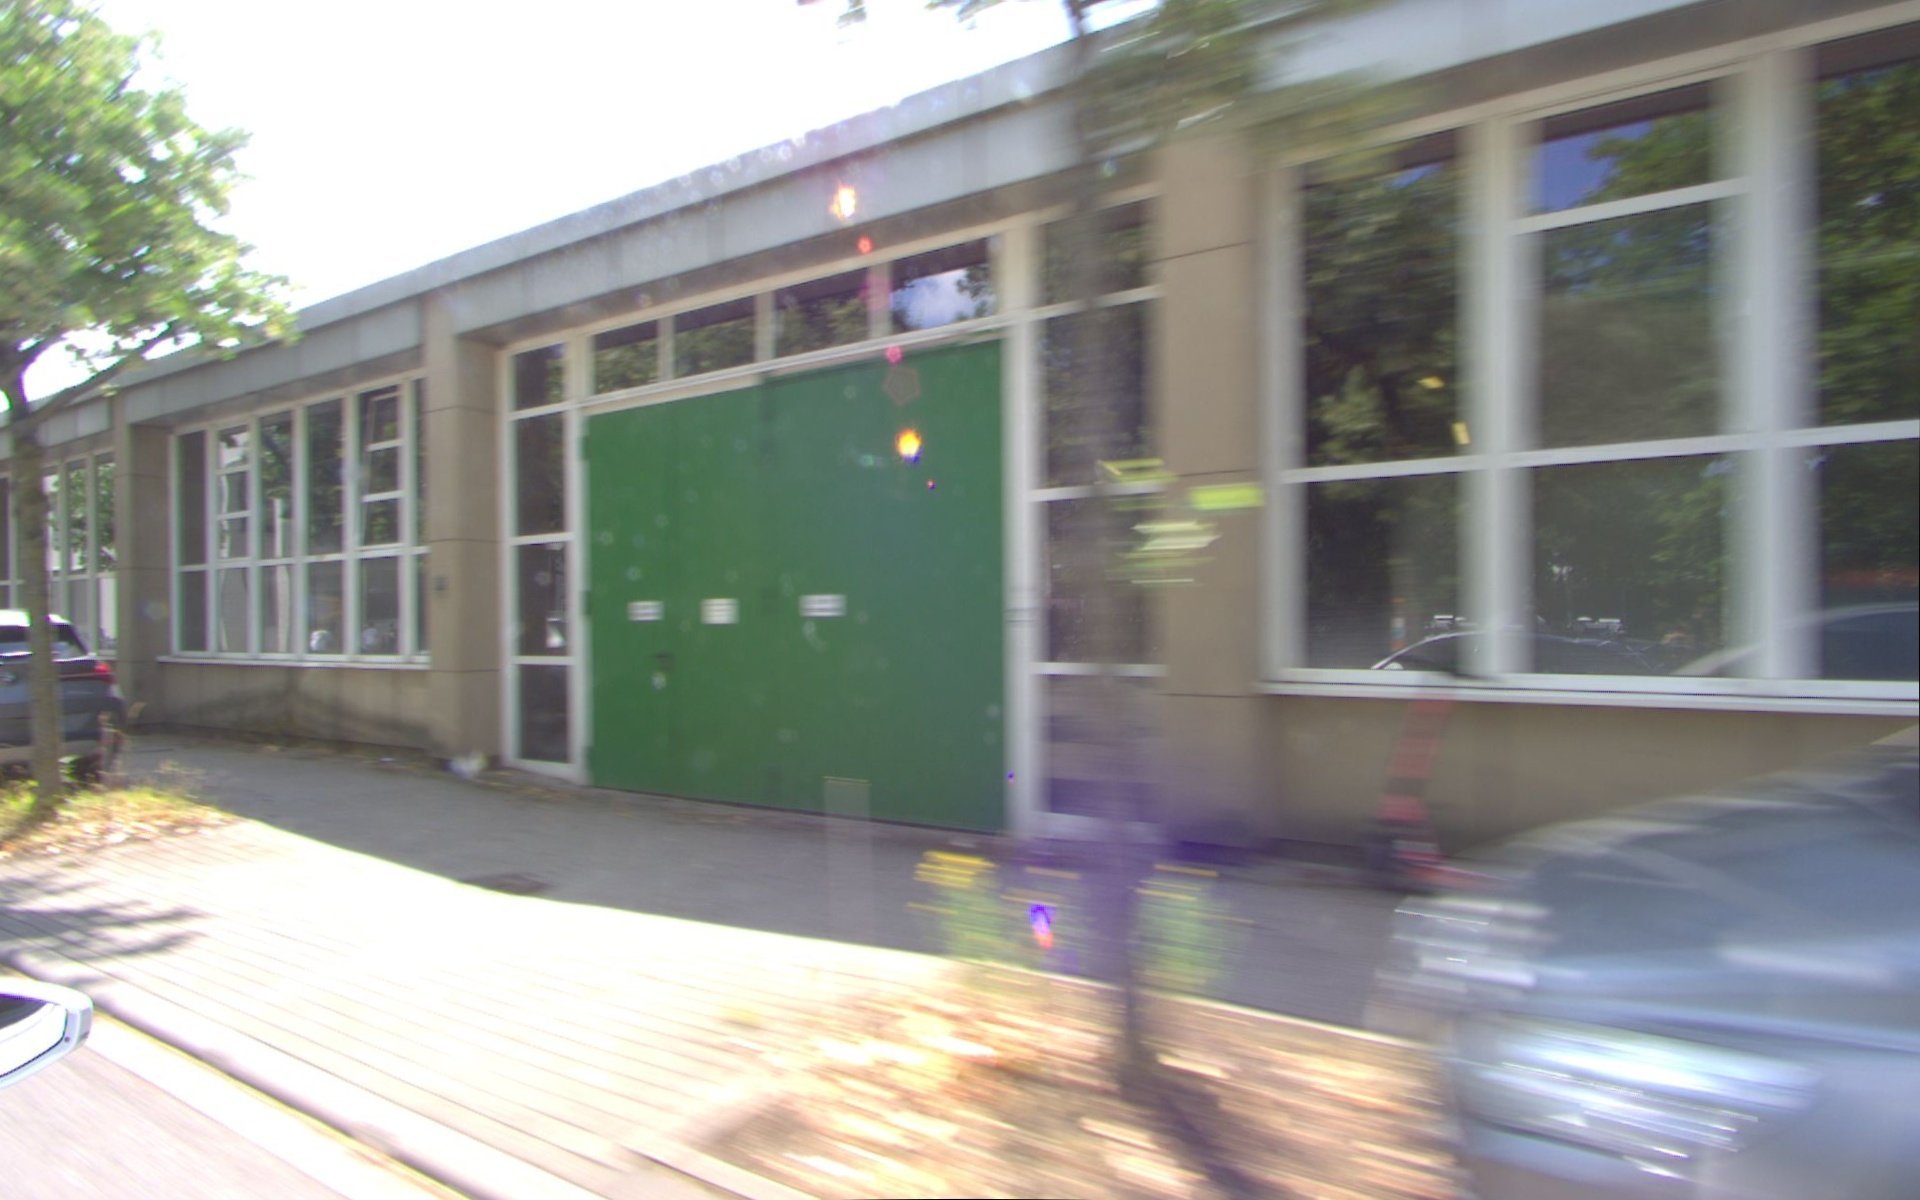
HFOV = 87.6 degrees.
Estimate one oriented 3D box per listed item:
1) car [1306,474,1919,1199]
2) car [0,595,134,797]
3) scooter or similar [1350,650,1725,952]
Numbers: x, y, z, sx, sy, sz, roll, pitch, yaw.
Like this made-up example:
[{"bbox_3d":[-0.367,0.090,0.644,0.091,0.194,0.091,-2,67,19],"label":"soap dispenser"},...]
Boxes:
[{"bbox_3d":[2.725,0.620,1.259,4.079,1.595,1.701,-1,0,31],"label":"car"},{"bbox_3d":[-9.942,0.875,9.472,4.517,1.685,1.819,-2,0,30],"label":"car"},{"bbox_3d":[2.671,0.868,4.747,1.472,1.233,0.415,-1,1,32],"label":"scooter or similar"}]
